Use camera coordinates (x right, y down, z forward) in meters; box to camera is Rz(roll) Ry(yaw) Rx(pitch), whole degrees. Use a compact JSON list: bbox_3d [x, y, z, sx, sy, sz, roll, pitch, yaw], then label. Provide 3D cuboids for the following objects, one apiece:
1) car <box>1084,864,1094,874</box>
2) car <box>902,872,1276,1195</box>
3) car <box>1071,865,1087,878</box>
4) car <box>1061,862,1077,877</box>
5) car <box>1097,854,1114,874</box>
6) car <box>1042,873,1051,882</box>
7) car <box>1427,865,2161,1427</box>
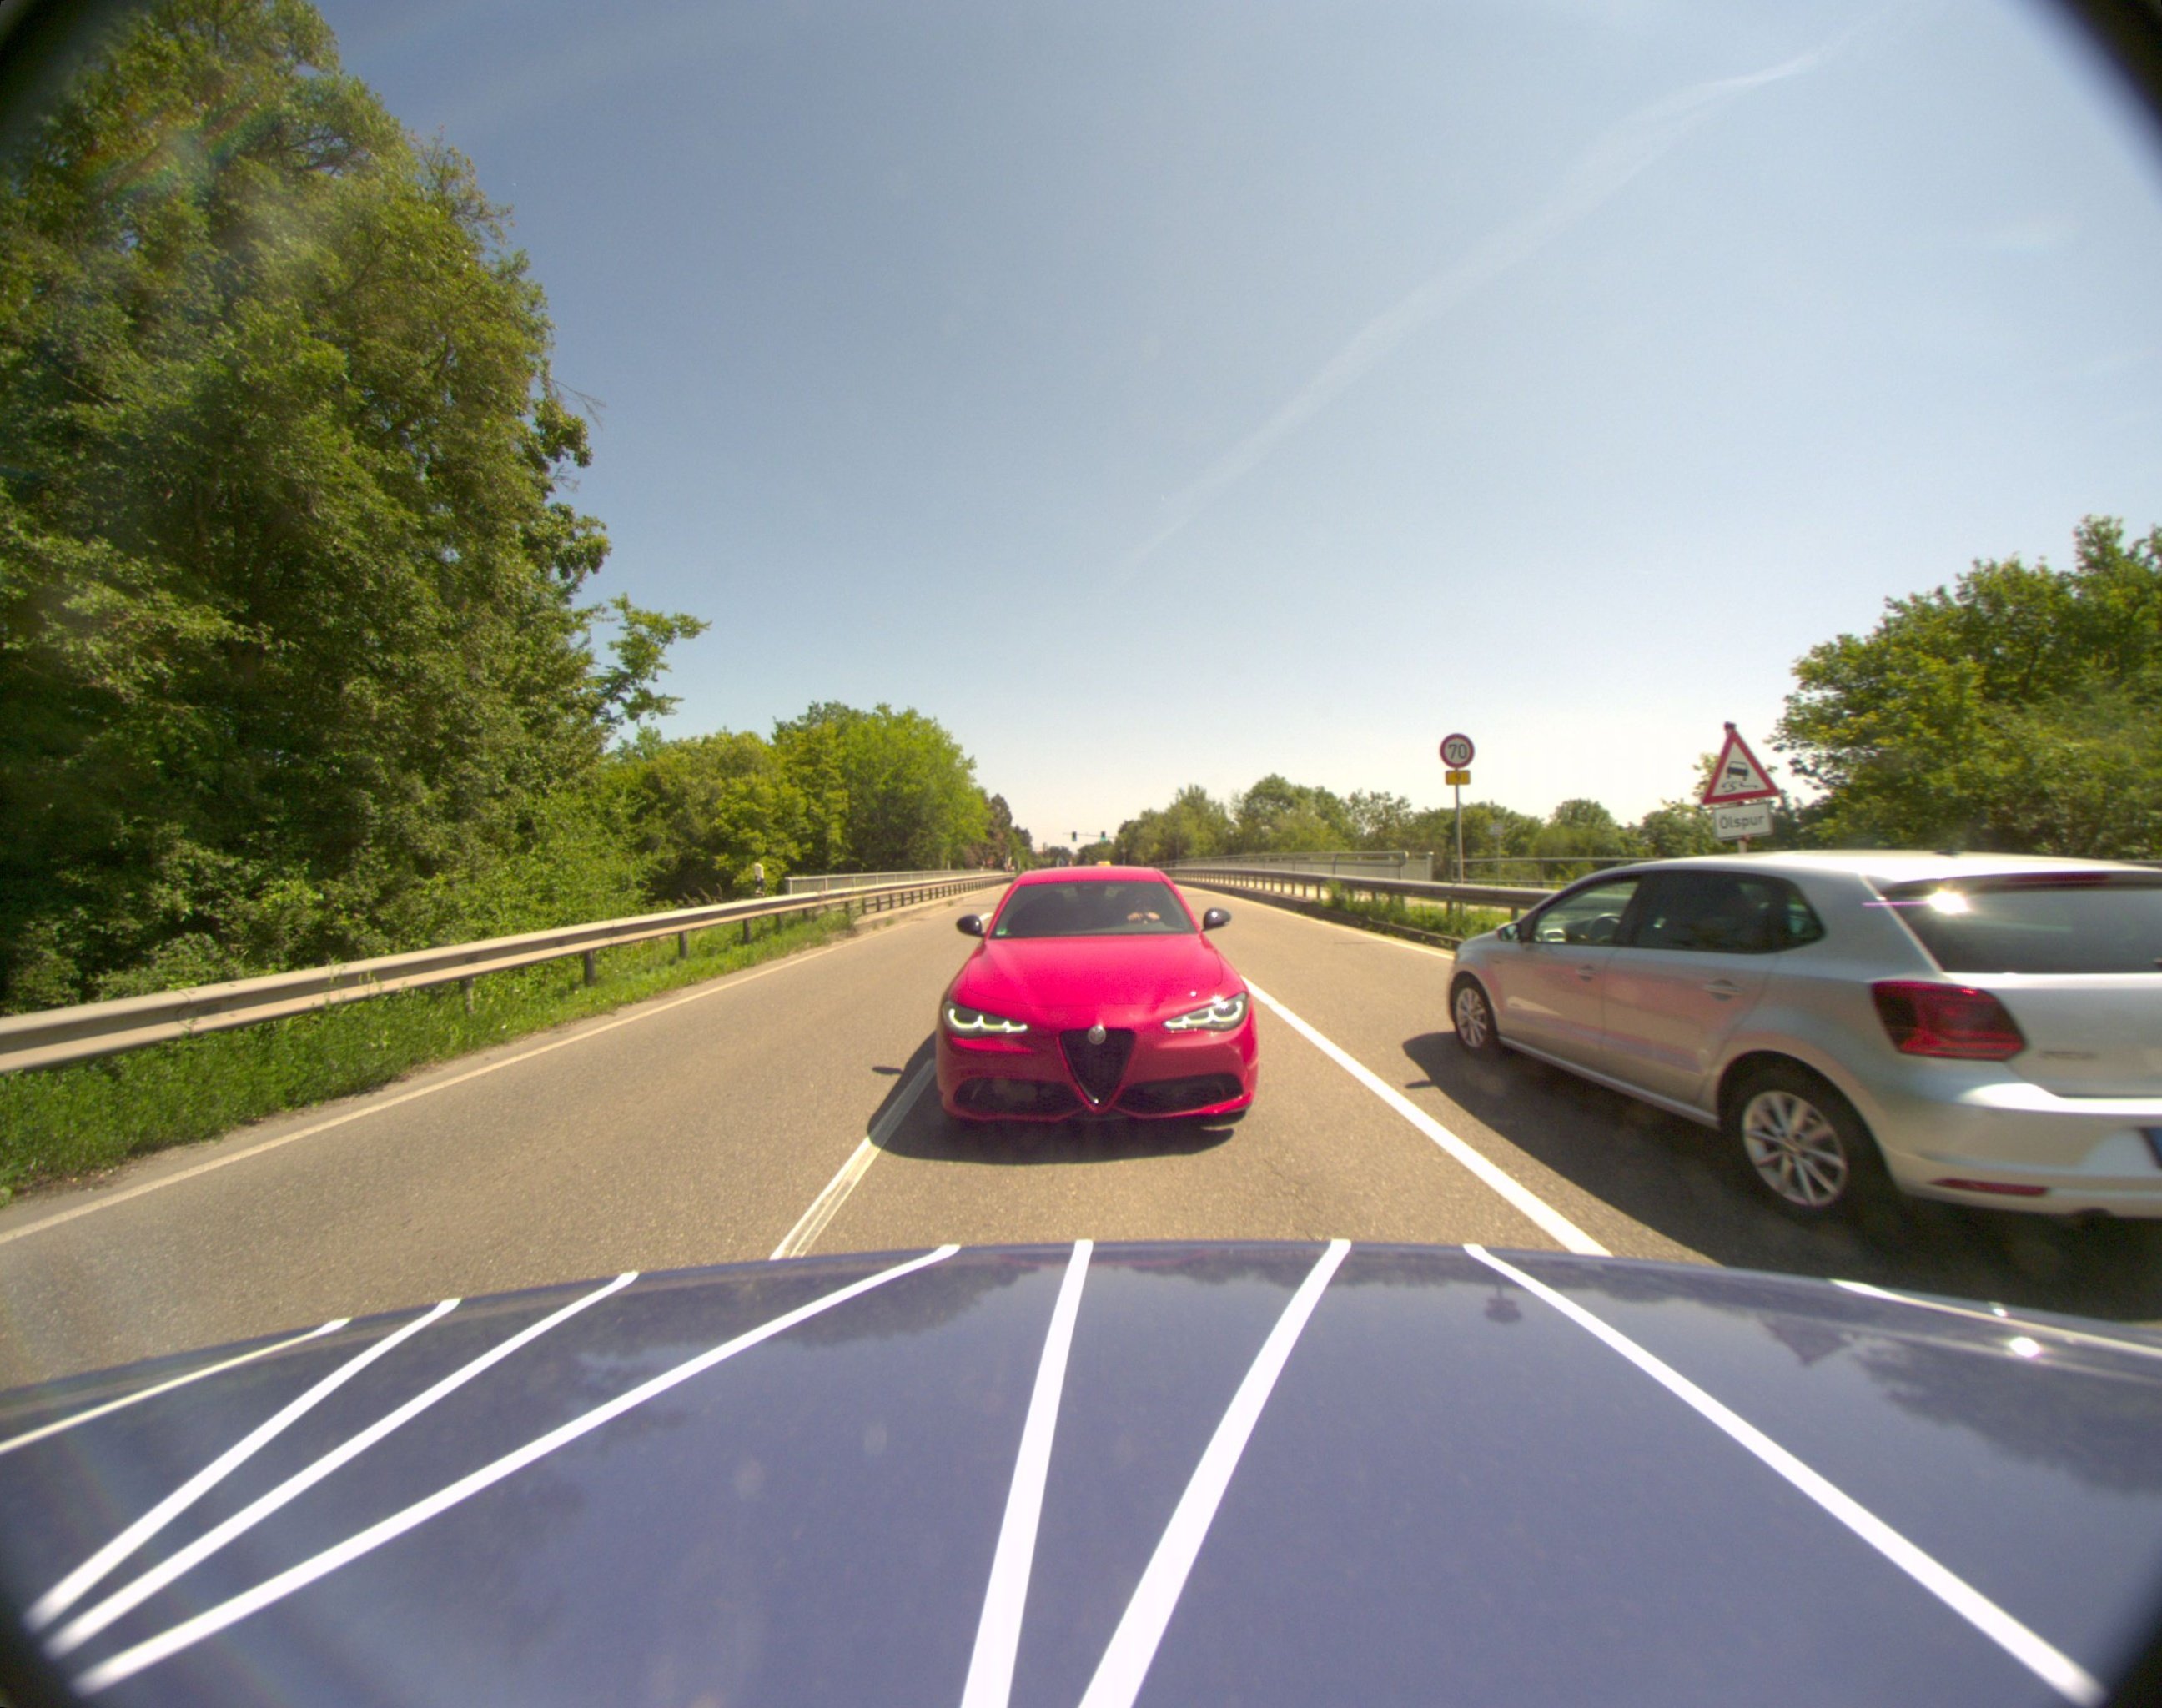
[{"bbox_3d":[1.523,2.854,143.504,1.848,1.758,4.000,-1,0,0],"label":"car"},{"bbox_3d":[0.050,0.933,5.866,1.800,1.448,4.285,-1,0,0],"label":"car"},{"bbox_3d":[-0.248,2.083,92.417,1.800,1.448,3.706,-1,0,1],"label":"car"},{"bbox_3d":[-1.711,2.136,105.701,1.999,2.002,3.998,-1,0,-4],"label":"car"},{"bbox_3d":[3.013,1.250,94.288,1.995,2.354,5.181,-2,0,0],"label":"car"},{"bbox_3d":[-5.800,3.982,128.609,1.416,1.499,3.316,-1,0,0],"label":"car"},{"bbox_3d":[3.471,0.821,3.930,1.648,1.410,3.766,-2,0,1],"label":"car"}]
